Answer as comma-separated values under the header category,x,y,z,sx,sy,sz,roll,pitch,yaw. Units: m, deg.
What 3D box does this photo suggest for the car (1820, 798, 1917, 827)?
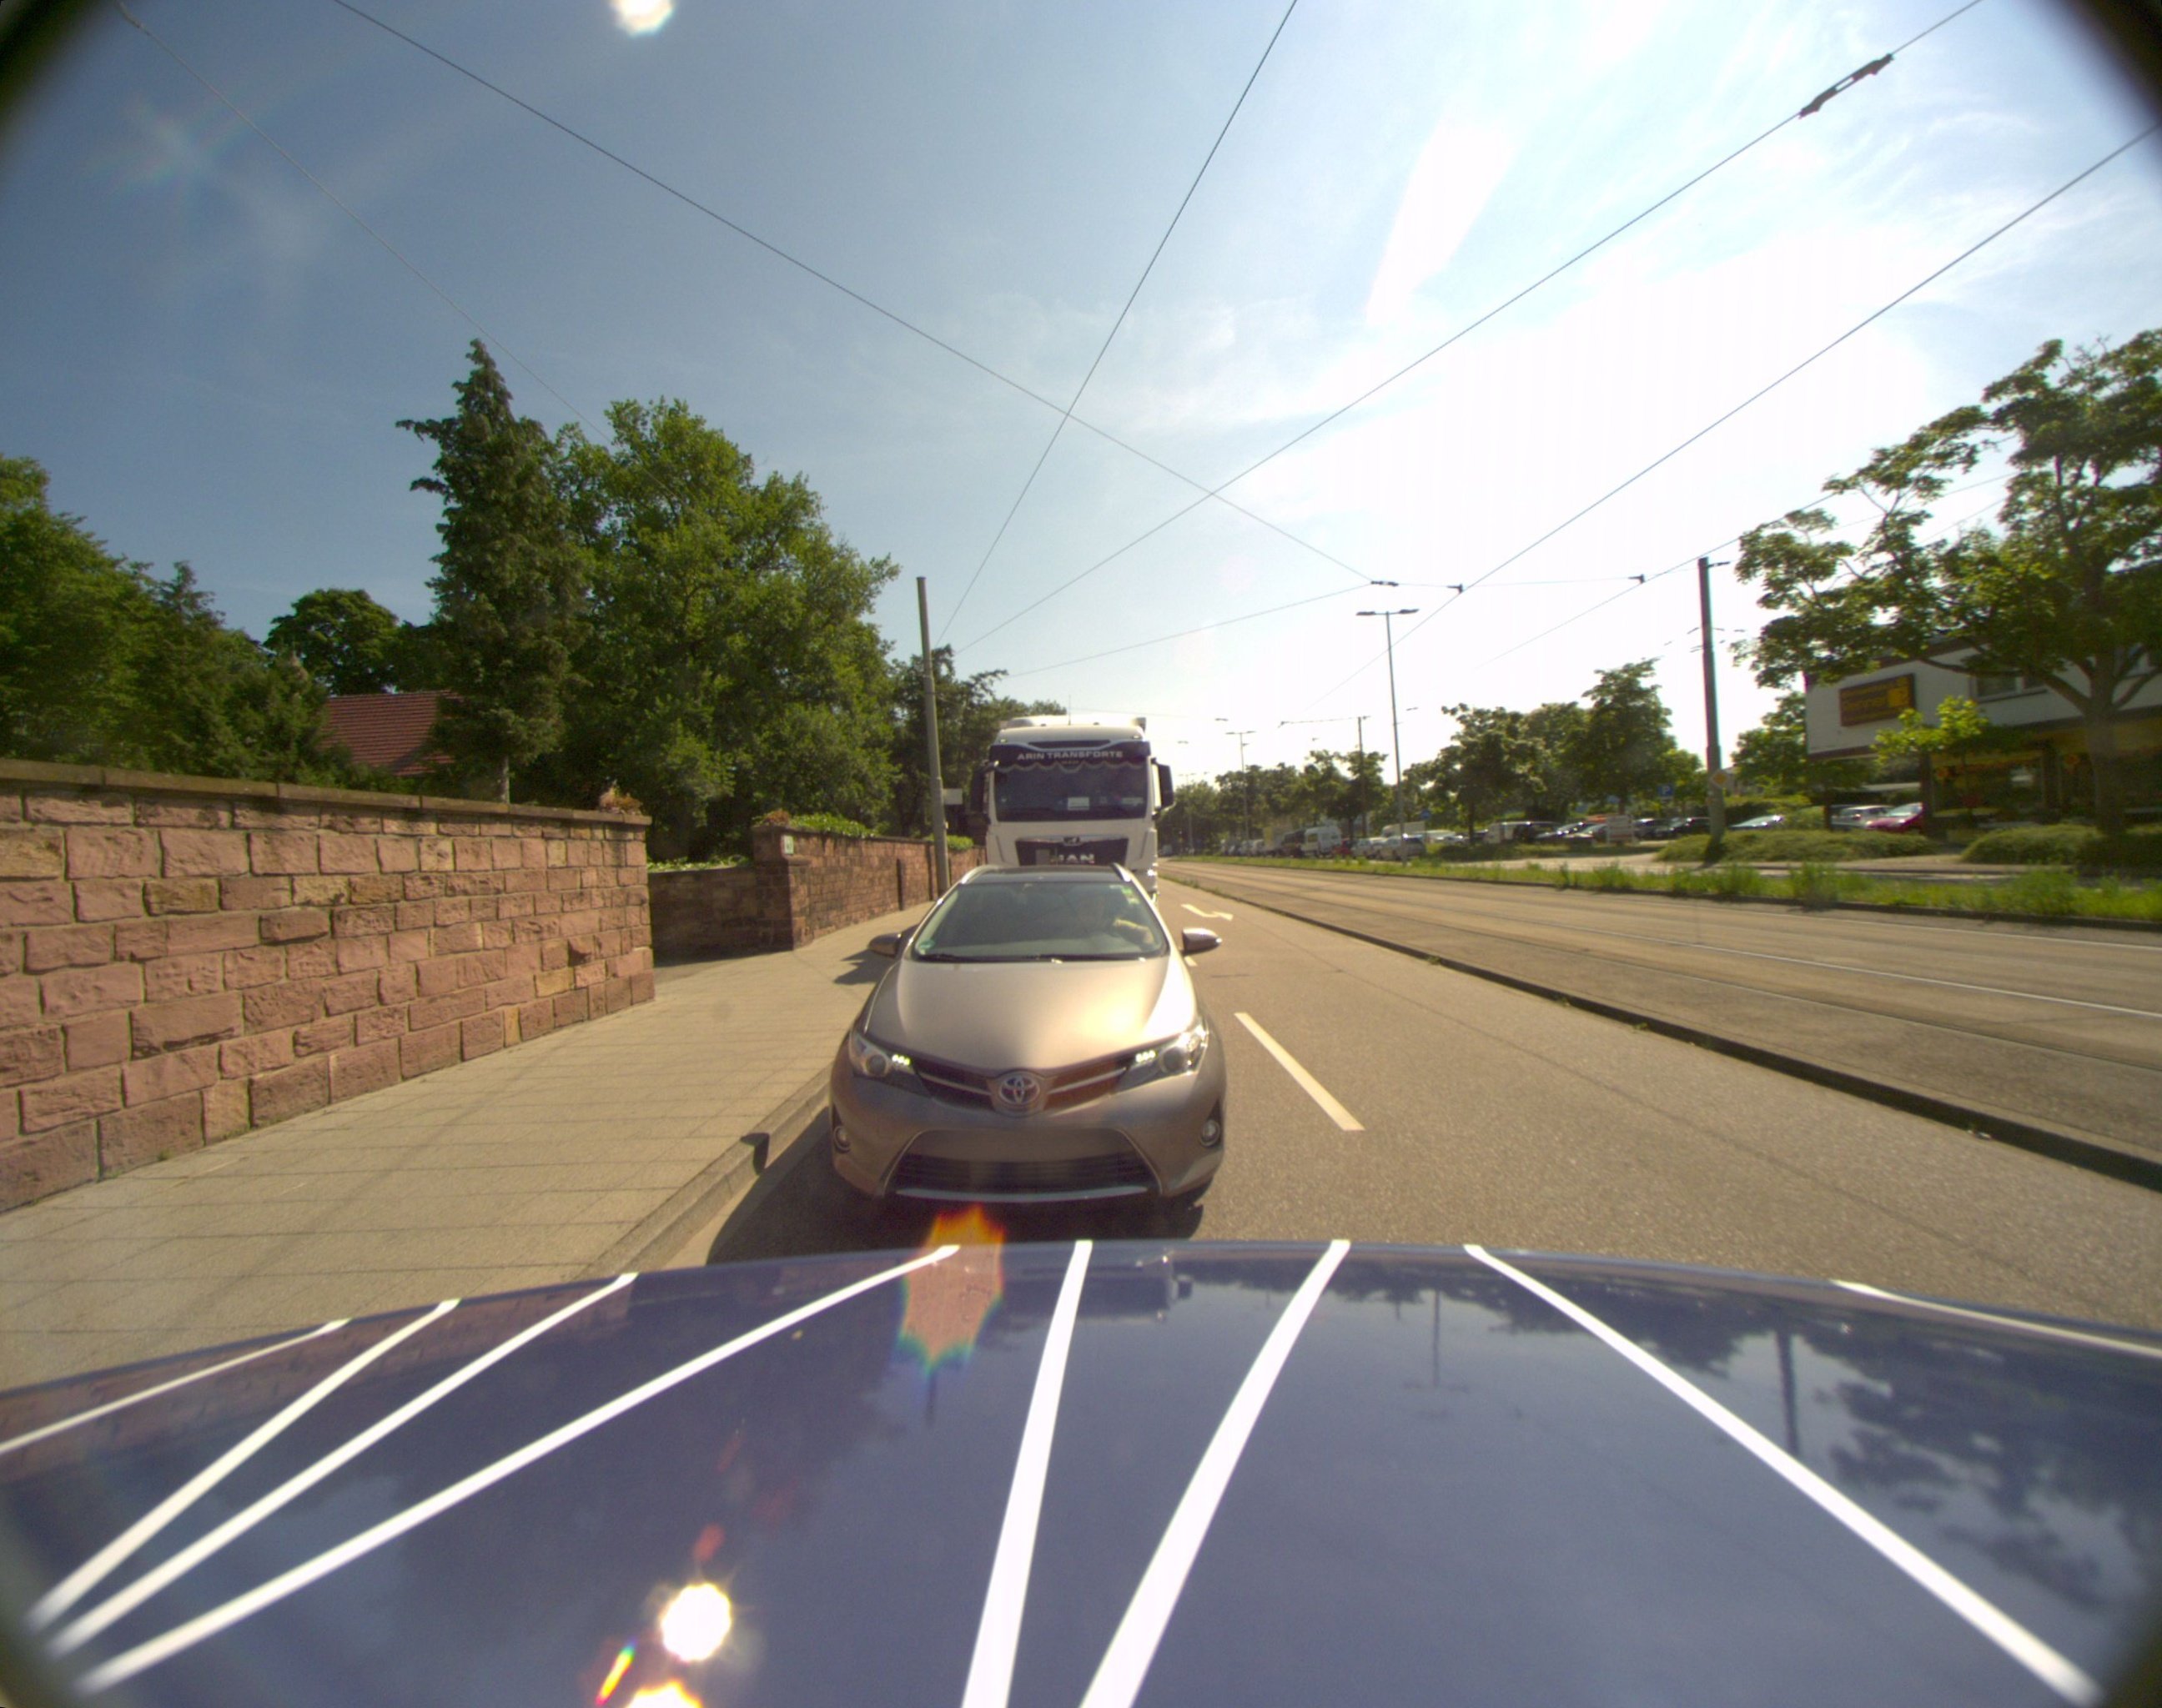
category,x,y,z,sx,sy,sz,roll,pitch,yaw
car,43.782,-2.295,42.290,3.624,1.353,1.712,-3,1,-1

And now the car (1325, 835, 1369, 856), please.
category,x,y,z,sx,sy,sz,roll,pitch,yaw
car,20.533,-0.623,58.857,1.893,1.486,4.232,-3,0,0

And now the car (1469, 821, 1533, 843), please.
category,x,y,z,sx,sy,sz,roll,pitch,yaw
car,30.372,-1.578,54.991,3.624,1.277,1.712,-3,1,-1

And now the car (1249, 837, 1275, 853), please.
category,x,y,z,sx,sy,sz,roll,pitch,yaw
car,20.775,-1.025,87.357,1.893,1.724,4.232,-3,0,0

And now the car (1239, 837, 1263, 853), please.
category,x,y,z,sx,sy,sz,roll,pitch,yaw
car,21.049,-1.084,94.292,1.893,1.757,4.232,-3,0,0

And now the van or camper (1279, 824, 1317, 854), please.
category,x,y,z,sx,sy,sz,roll,pitch,yaw
van or camper,20.212,-1.340,70.853,2.040,2.617,4.839,-3,0,0

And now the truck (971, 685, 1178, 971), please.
category,x,y,z,sx,sy,sz,roll,pitch,yaw
truck,-0.024,-0.382,15.038,2.746,3.852,9.110,-2,0,1

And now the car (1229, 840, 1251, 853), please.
category,x,y,z,sx,sy,sz,roll,pitch,yaw
car,20.908,-0.956,100.208,1.893,1.551,4.232,-3,0,0

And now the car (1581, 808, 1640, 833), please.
category,x,y,z,sx,sy,sz,roll,pitch,yaw
car,43.599,-2.721,62.578,3.624,1.767,1.712,-3,1,-1

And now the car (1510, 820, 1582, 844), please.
category,x,y,z,sx,sy,sz,roll,pitch,yaw
car,30.695,-1.441,50.198,3.624,1.353,1.712,-3,1,-1

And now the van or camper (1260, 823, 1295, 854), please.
category,x,y,z,sx,sy,sz,roll,pitch,yaw
van or camper,20.286,-1.607,78.743,2.128,2.967,5.281,-3,0,0

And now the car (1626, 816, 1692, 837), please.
category,x,y,z,sx,sy,sz,roll,pitch,yaw
car,43.732,-2.051,57.532,3.624,1.353,1.712,-3,1,-1

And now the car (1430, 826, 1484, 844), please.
category,x,y,z,sx,sy,sz,roll,pitch,yaw
car,31.527,-1.585,63.724,3.624,1.274,1.712,-3,1,-1

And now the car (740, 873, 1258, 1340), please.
category,x,y,z,sx,sy,sz,roll,pitch,yaw
car,-0.258,0.951,4.910,1.742,1.424,4.462,-3,0,1

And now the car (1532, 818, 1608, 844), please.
category,x,y,z,sx,sy,sz,roll,pitch,yaw
car,30.491,-1.402,47.456,3.624,1.353,1.712,-3,1,-1

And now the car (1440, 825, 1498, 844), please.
category,x,y,z,sx,sy,sz,roll,pitch,yaw
car,31.055,-1.537,60.850,3.624,1.274,1.812,-3,0,-1

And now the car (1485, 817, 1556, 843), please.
category,x,y,z,sx,sy,sz,roll,pitch,yaw
car,30.444,-1.639,52.665,3.749,1.560,1.951,-3,1,-1

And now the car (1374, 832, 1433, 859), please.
category,x,y,z,sx,sy,sz,roll,pitch,yaw
car,20.356,-0.529,48.161,1.892,1.486,4.285,-6,0,2

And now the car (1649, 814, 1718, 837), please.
category,x,y,z,sx,sy,sz,roll,pitch,yaw
car,43.531,-2.035,54.941,3.624,1.353,1.712,-3,1,-1

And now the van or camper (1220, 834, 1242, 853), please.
category,x,y,z,sx,sy,sz,roll,pitch,yaw
van or camper,21.144,-1.467,107.231,2.114,2.604,5.451,-2,1,1

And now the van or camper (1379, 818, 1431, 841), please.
category,x,y,z,sx,sy,sz,roll,pitch,yaw
van or camper,44.858,-3.380,105.394,6.081,2.715,2.299,-3,1,3

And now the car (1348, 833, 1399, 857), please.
category,x,y,z,sx,sy,sz,roll,pitch,yaw
car,20.530,-0.630,53.495,1.893,1.551,4.285,-3,0,0

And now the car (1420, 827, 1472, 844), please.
category,x,y,z,sx,sy,sz,roll,pitch,yaw
car,31.687,-1.619,66.025,3.624,1.274,1.712,-3,1,-1

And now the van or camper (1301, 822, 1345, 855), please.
category,x,y,z,sx,sy,sz,roll,pitch,yaw
van or camper,20.265,-1.263,63.797,2.040,2.617,4.839,-3,0,0

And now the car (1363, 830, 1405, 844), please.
category,x,y,z,sx,sy,sz,roll,pitch,yaw
car,32.001,-1.792,80.266,3.624,1.274,1.712,-3,1,-1
